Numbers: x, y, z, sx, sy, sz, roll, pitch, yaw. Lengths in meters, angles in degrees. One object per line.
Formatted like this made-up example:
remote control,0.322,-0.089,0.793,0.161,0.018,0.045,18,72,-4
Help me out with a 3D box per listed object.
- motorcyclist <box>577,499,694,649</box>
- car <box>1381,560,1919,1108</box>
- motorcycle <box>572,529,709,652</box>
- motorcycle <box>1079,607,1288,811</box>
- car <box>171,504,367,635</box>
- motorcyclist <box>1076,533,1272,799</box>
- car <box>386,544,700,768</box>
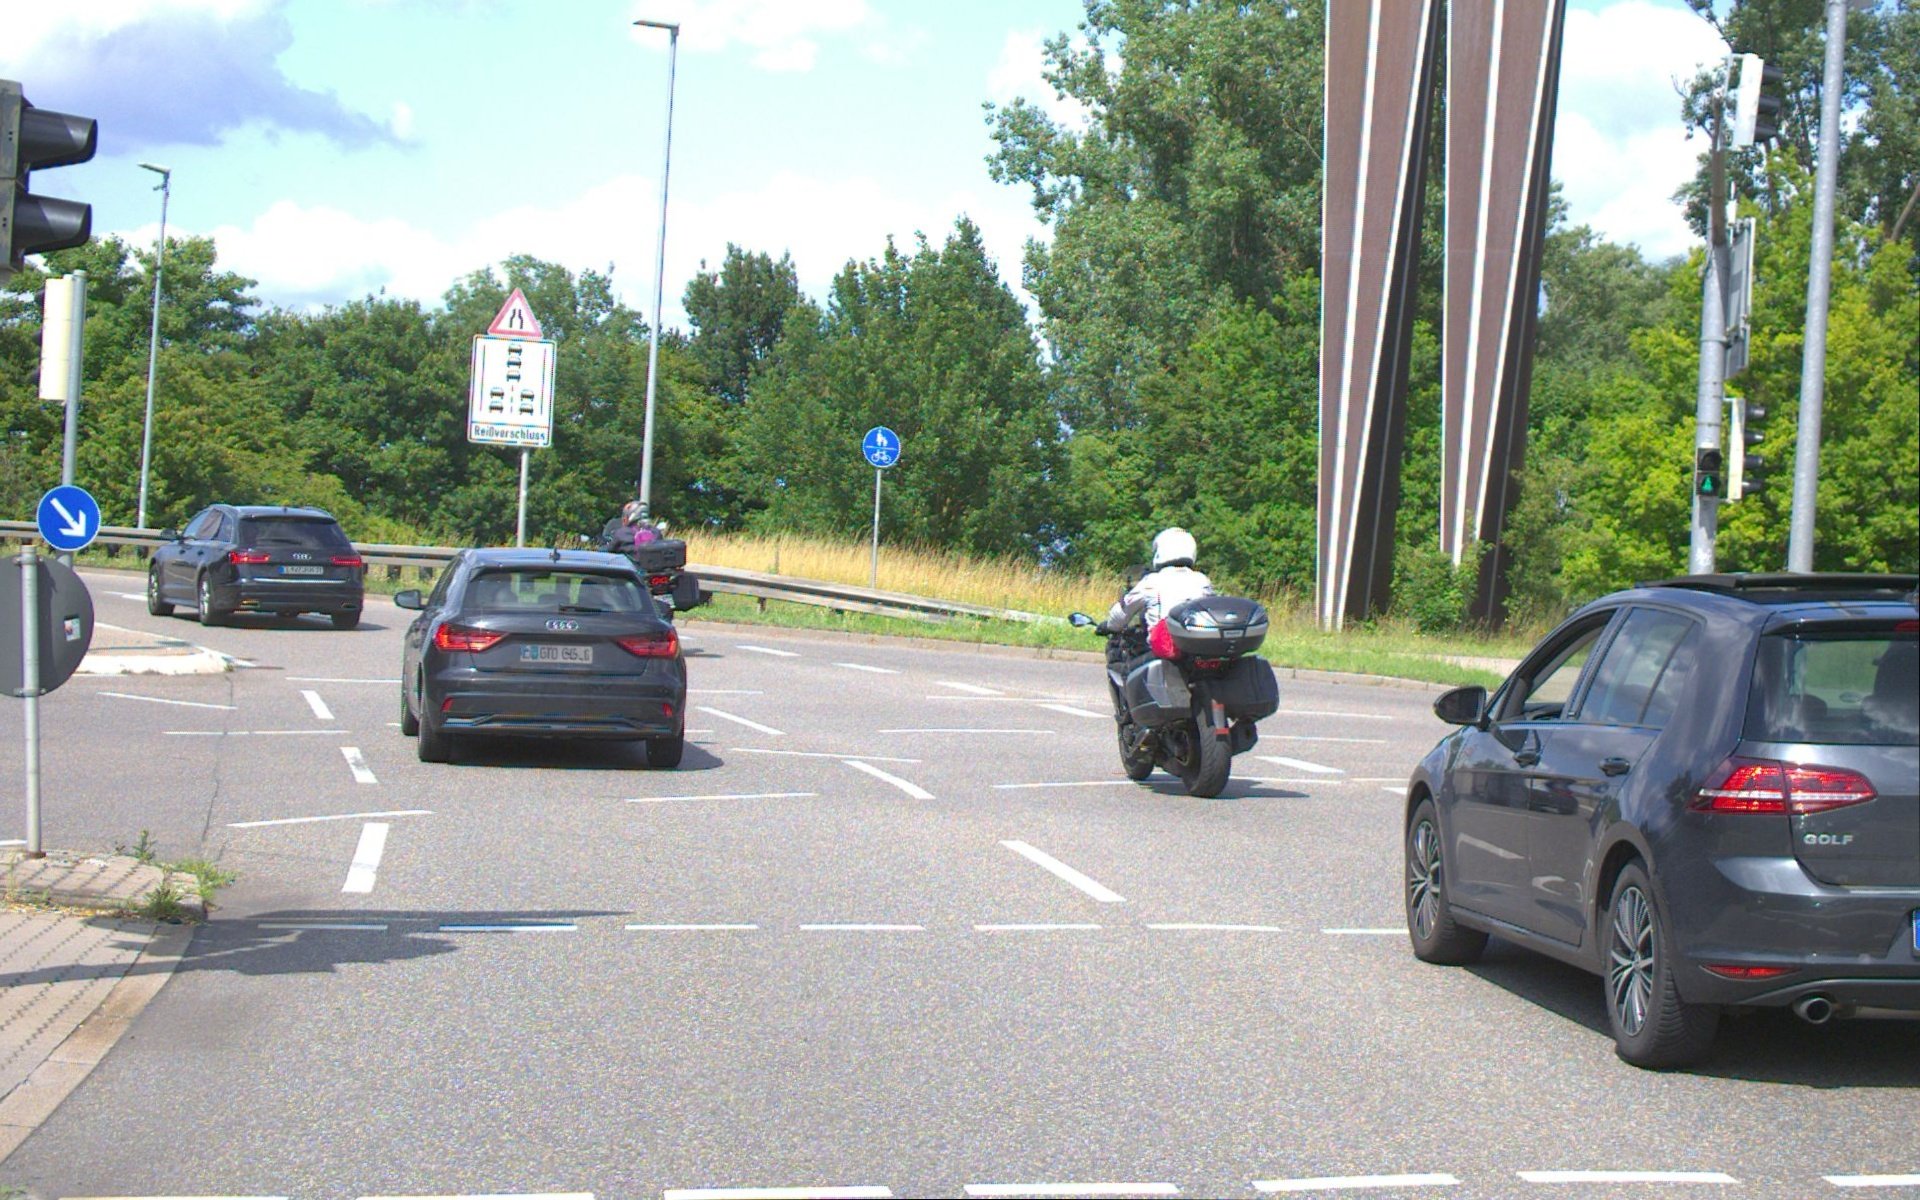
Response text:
motorcyclist,-3.573,-0.293,37.789,0.965,1.590,1.125,3,0,-20
car,2.646,0.639,11.393,1.642,1.474,3.873,2,1,-5
motorcycle,-3.525,-0.123,37.688,0.887,1.243,2.400,2,1,-19
motorcycle,1.372,0.652,21.655,0.789,1.128,2.400,3,1,-8
car,-8.468,-0.392,41.920,1.642,1.474,3.873,2,1,-22
motorcyclist,1.350,0.401,21.912,0.965,1.615,1.125,3,0,-8
car,-2.922,0.333,23.496,1.681,1.383,3.740,1,1,-14
